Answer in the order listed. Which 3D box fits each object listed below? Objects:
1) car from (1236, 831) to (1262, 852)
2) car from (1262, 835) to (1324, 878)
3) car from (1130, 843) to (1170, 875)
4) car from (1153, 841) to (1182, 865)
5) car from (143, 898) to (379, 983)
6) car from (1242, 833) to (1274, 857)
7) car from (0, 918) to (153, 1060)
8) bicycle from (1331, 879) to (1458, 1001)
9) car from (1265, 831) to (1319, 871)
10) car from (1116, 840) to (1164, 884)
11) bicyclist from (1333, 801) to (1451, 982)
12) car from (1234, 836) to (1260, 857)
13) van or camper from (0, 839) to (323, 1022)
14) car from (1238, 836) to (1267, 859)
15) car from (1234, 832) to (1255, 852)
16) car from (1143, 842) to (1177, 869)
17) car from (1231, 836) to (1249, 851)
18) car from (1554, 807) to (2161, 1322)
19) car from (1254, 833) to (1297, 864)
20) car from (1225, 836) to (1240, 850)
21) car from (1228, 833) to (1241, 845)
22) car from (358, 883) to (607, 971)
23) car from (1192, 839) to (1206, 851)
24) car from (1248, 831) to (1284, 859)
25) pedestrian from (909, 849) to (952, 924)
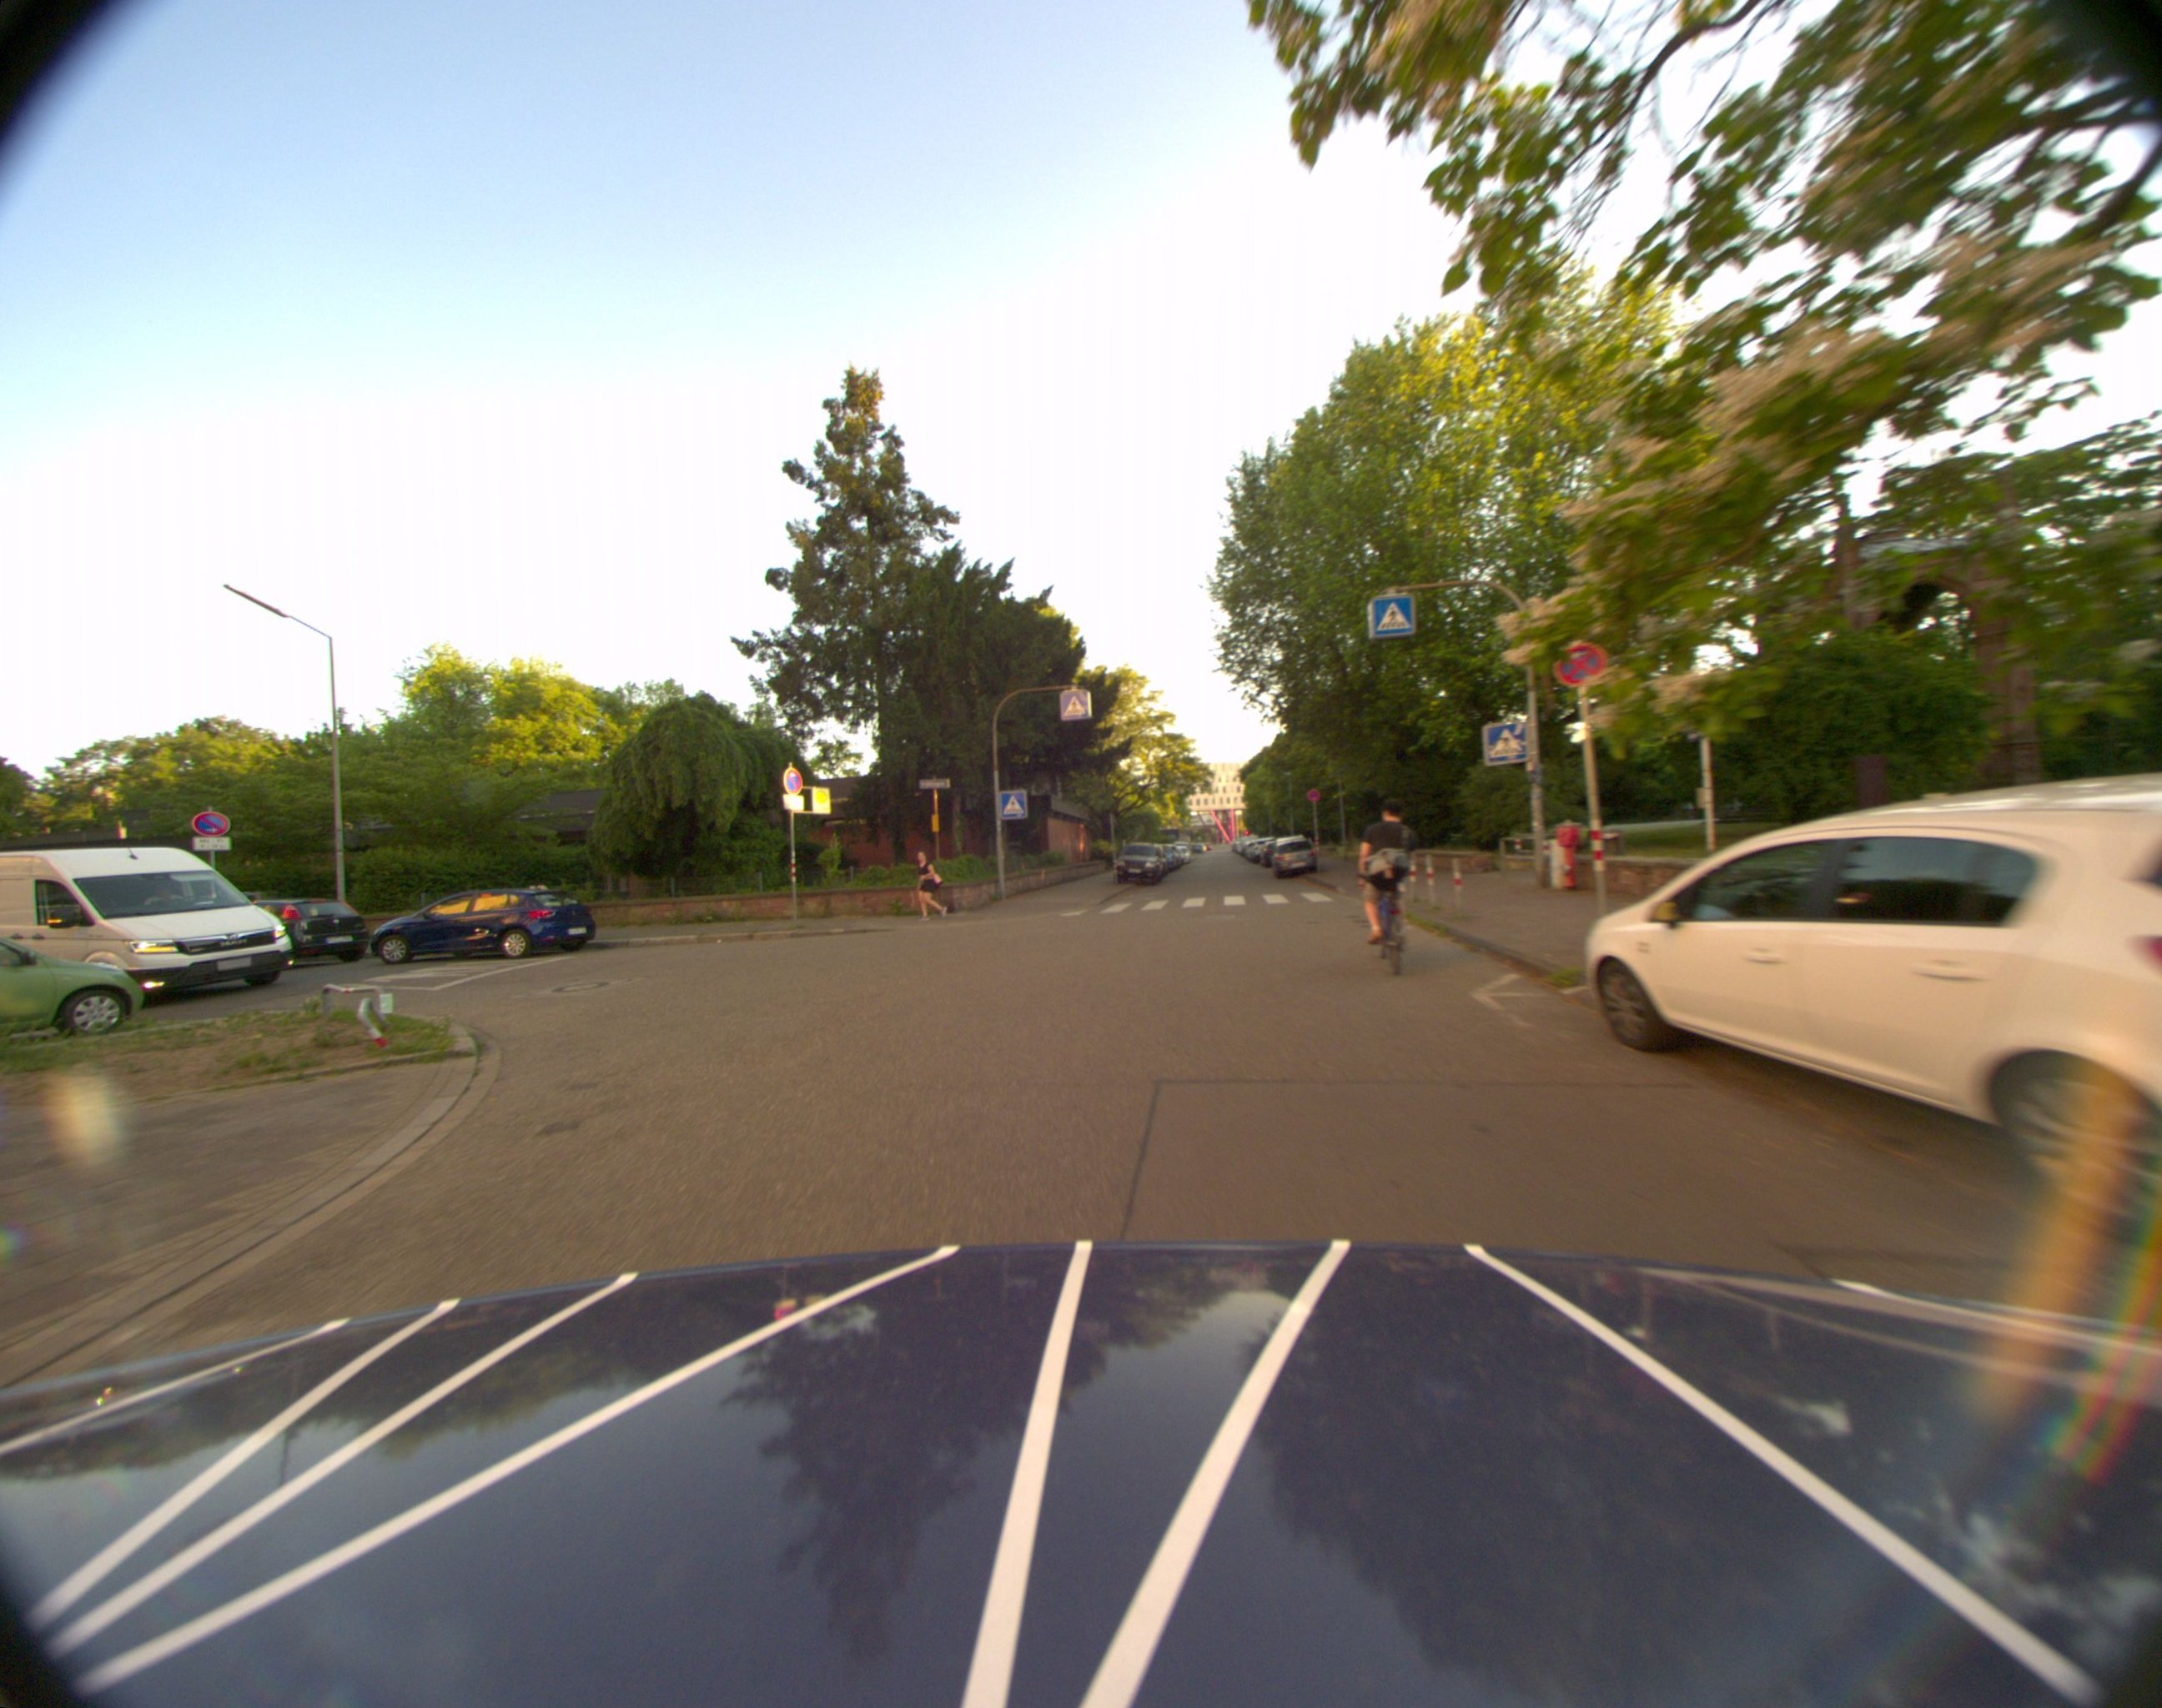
[{"bbox_3d":[17.033,-1.246,77.201,1.963,1.825,3.886,-8,0,8],"label":"car"},{"bbox_3d":[8.690,0.071,31.478,1.785,1.442,3.886,-8,0,8],"label":"car"},{"bbox_3d":[3.533,0.205,38.470,1.785,1.491,3.886,1,1,8],"label":"car"},{"bbox_3d":[5.649,-0.097,49.191,1.785,1.491,3.886,1,1,8],"label":"car"},{"bbox_3d":[-17.473,1.825,16.275,3.507,1.476,1.535,-3,0,5],"label":"car"},{"bbox_3d":[13.313,-0.682,57.383,1.785,1.562,3.886,-8,0,8],"label":"car"},{"bbox_3d":[-12.846,1.571,7.983,1.625,1.503,3.573,-4,-2,6],"label":"car"},{"bbox_3d":[3.353,0.871,8.321,0.761,1.090,1.865,-2,1,6],"label":"bicycle"},{"bbox_3d":[9.977,-0.179,36.210,1.785,1.568,3.886,-8,0,8],"label":"car"},{"bbox_3d":[2.581,0.280,32.462,1.785,1.744,3.886,-1,1,8],"label":"car"},{"bbox_3d":[3.317,0.380,8.206,0.860,1.797,1.017,-3,1,6],"label":"bicyclist"},{"bbox_3d":[14.721,-0.674,67.549,1.785,1.562,3.886,-8,0,8],"label":"car"},{"bbox_3d":[-16.881,1.277,12.832,6.860,2.576,2.096,-3,4,11],"label":"van or camper"},{"bbox_3d":[13.980,-0.561,62.075,1.785,1.562,3.886,-8,0,8],"label":"car"},{"bbox_3d":[18.900,-1.361,87.831,1.785,2.025,3.886,-8,0,8],"label":"car"},{"bbox_3d":[4.620,0.036,43.848,1.785,1.491,3.886,1,1,8],"label":"car"},{"bbox_3d":[21.541,-1.421,103.084,1.785,1.785,3.886,-8,0,8],"label":"car"},{"bbox_3d":[4.244,0.621,3.621,1.665,1.505,3.885,-6,0,5],"label":"car"},{"bbox_3d":[10.928,-0.330,42.934,1.785,1.468,3.886,-8,0,8],"label":"car"},{"bbox_3d":[22.531,-1.654,113.167,1.785,1.772,4.014,-8,0,8],"label":"car"},{"bbox_3d":[26.240,-2.500,129.968,1.785,1.772,4.014,-8,0,8],"label":"car"},{"bbox_3d":[-12.384,1.476,15.890,3.787,1.476,1.724,-3,0,2],"label":"car"},{"bbox_3d":[18.727,-1.425,120.863,1.997,1.740,4.002,-4,1,8],"label":"car"},{"bbox_3d":[12.370,-0.608,51.004,1.785,1.562,3.886,-8,0,8],"label":"car"},{"bbox_3d":[-3.578,0.746,17.991,0.826,1.716,0.860,0,2,-24],"label":"pedestrian"}]
